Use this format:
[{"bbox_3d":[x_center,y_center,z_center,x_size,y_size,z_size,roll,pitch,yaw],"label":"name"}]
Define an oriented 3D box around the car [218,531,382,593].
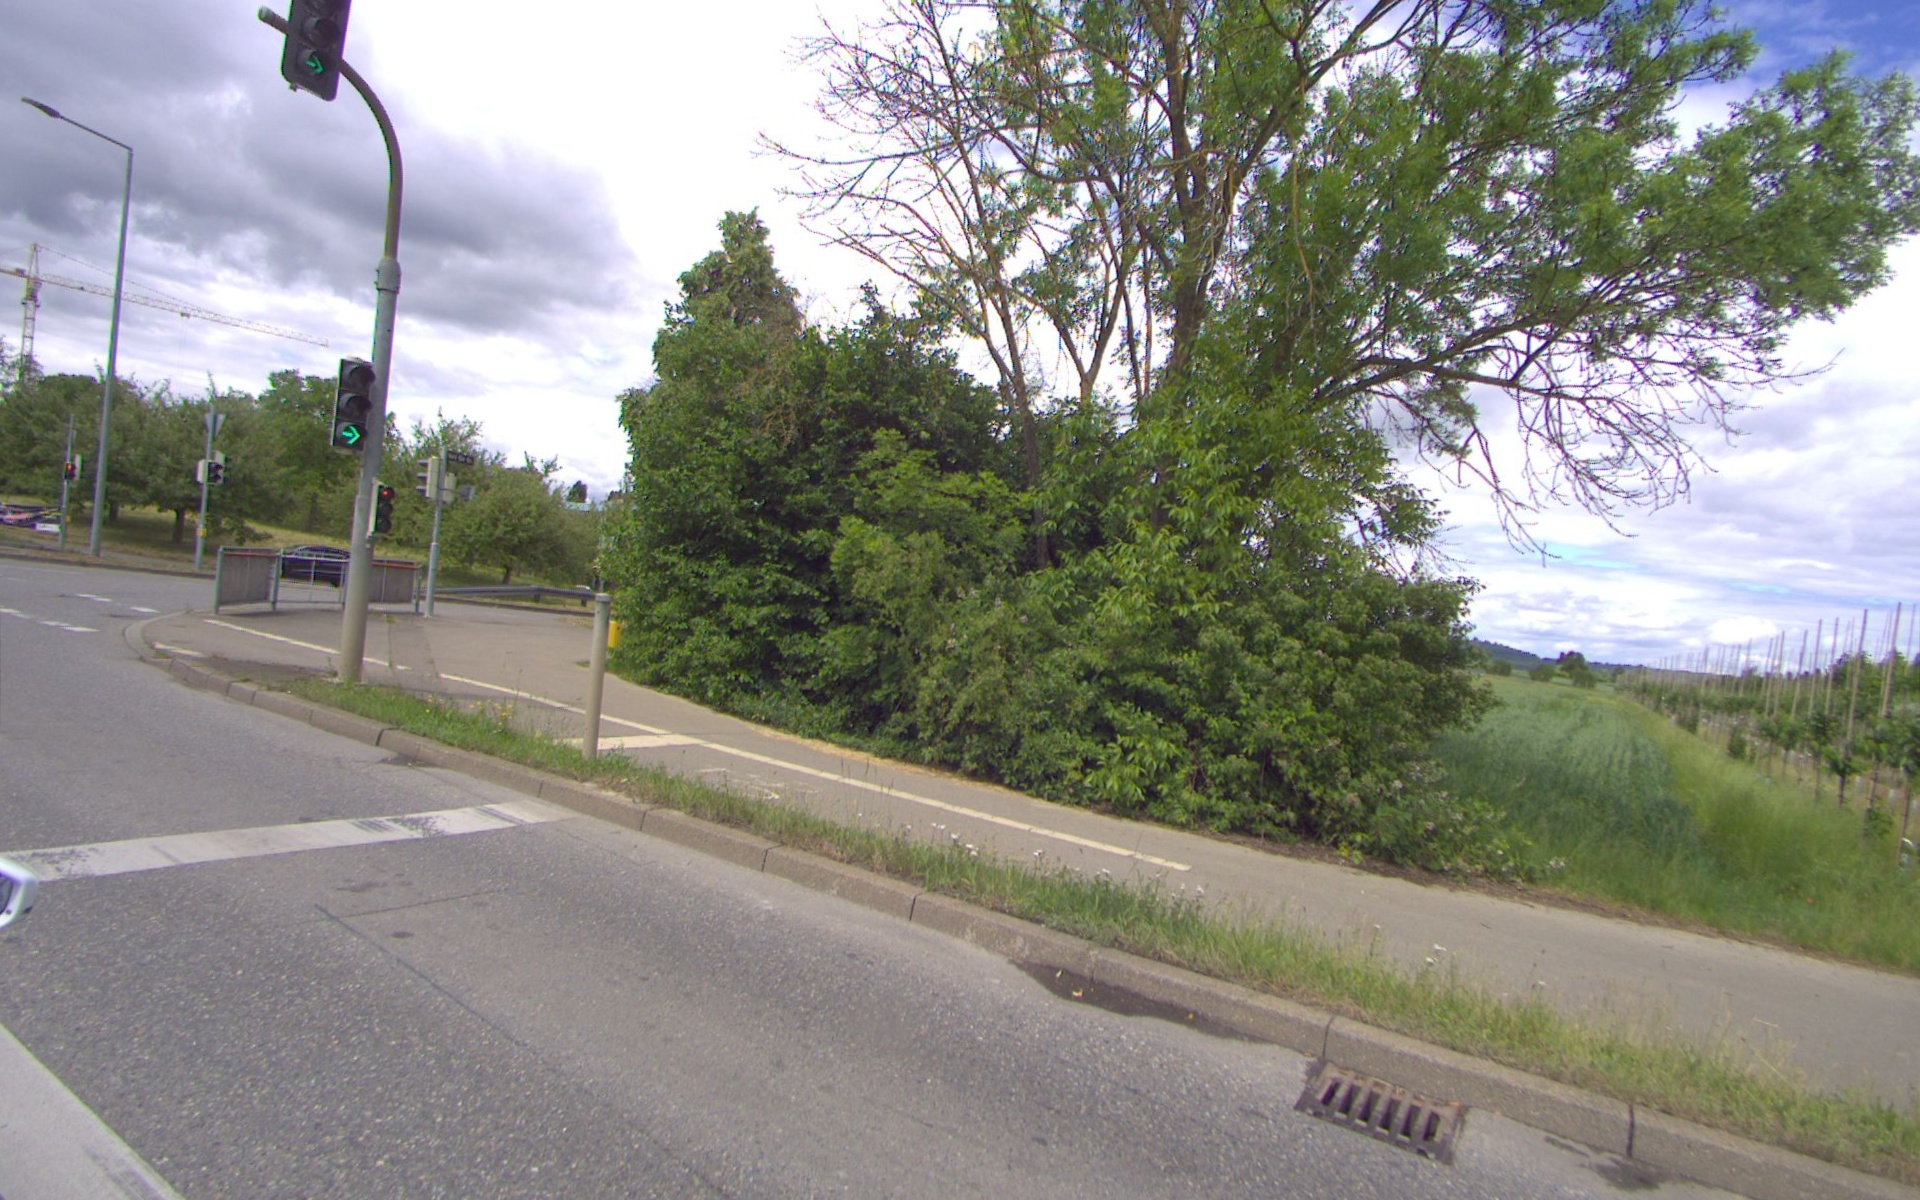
[{"bbox_3d":[-23.774,-1.338,36.388,1.969,1.584,4.457,7,-1,37],"label":"car"}]
